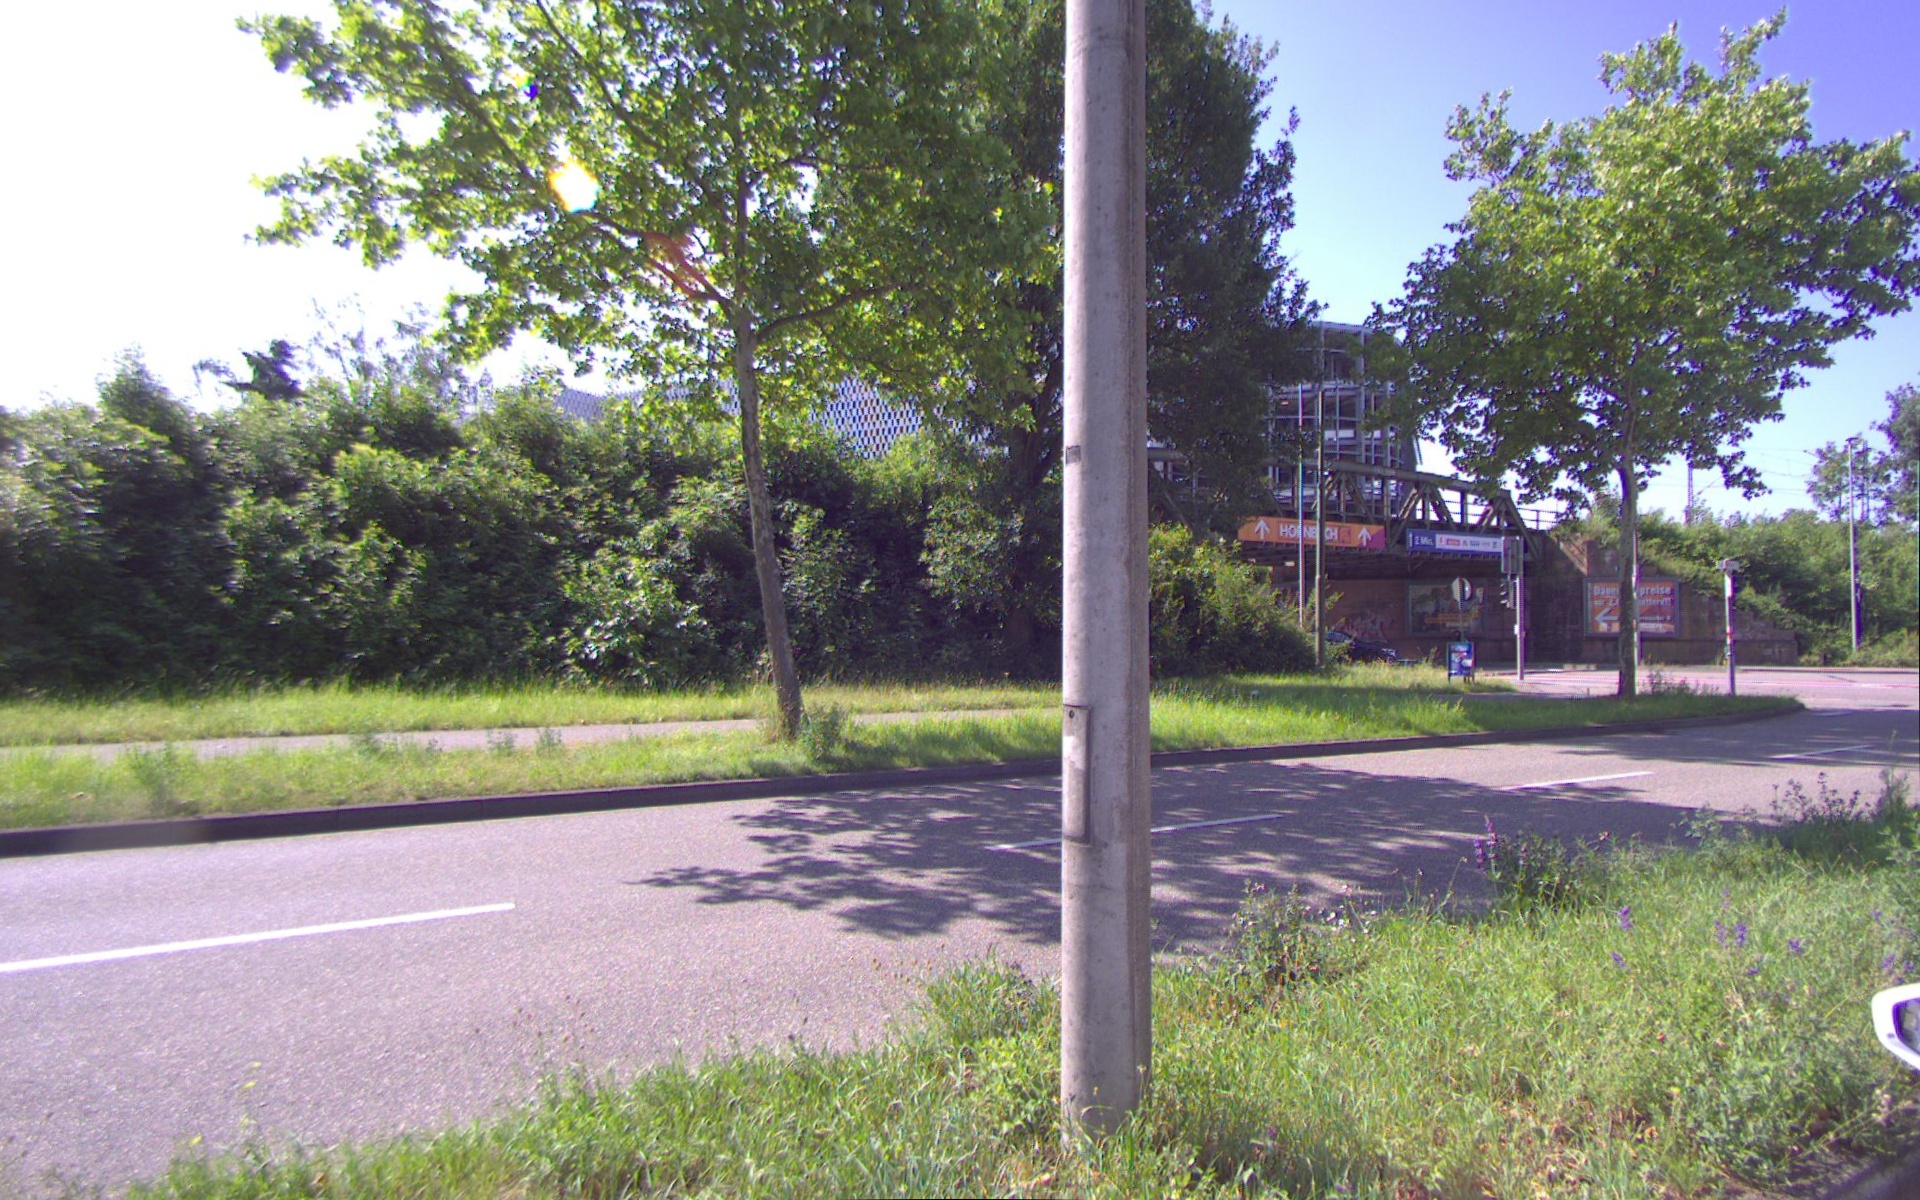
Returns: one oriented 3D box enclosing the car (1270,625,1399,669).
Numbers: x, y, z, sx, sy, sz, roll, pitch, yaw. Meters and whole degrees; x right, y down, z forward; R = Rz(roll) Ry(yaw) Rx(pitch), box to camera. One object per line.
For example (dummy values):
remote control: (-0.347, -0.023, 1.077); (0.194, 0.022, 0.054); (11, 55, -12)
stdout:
car: (15.636, 1.935, 42.047); (4.956, 1.617, 1.526); (1, -1, 24)
